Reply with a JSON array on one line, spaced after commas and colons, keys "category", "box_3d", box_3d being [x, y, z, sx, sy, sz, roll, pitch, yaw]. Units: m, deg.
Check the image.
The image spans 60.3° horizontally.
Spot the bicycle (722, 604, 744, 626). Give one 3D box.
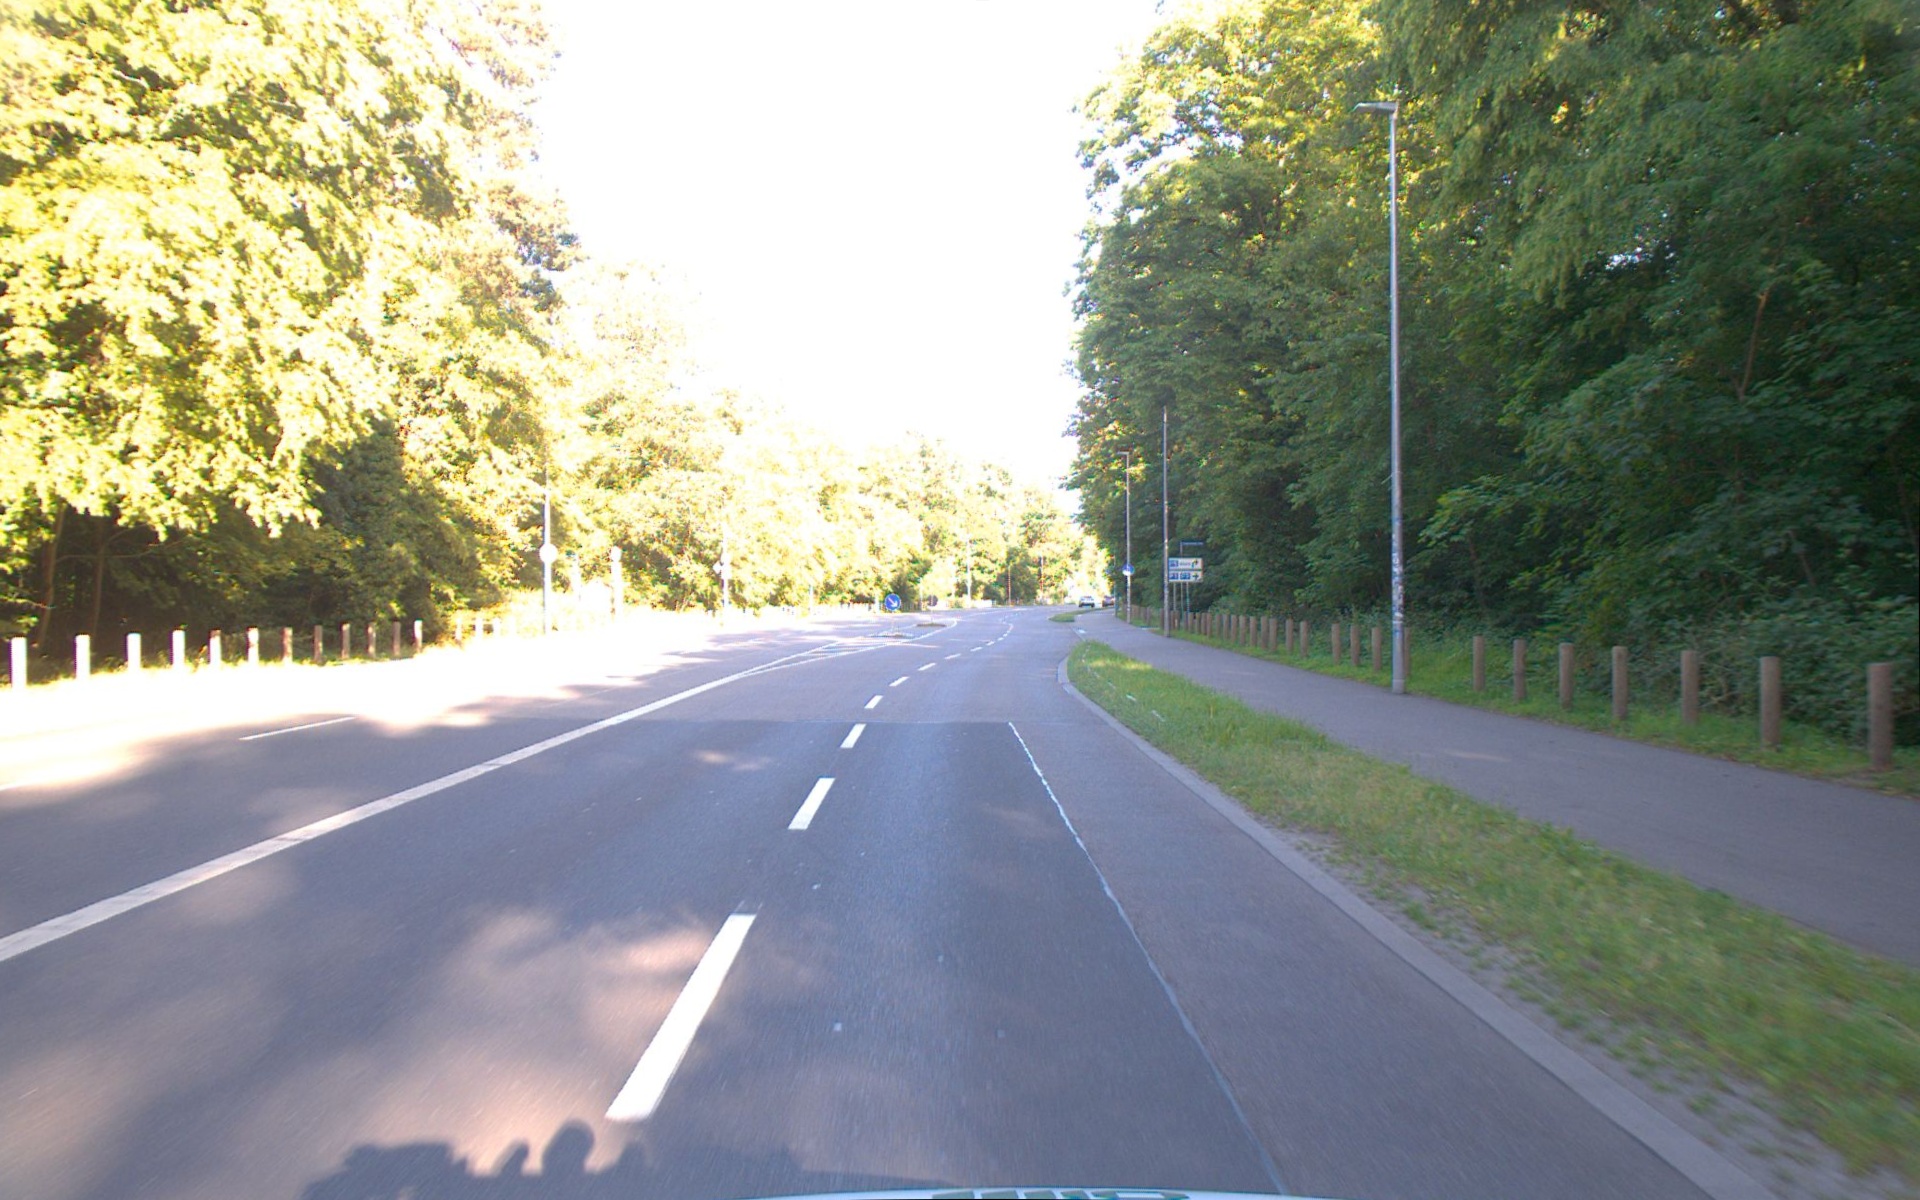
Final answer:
[{"category": "bicycle", "box_3d": [-11.995, 0.803, 87.461, 0.392, 1.152, 2.221, 1, 0, 12]}]

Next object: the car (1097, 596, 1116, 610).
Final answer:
[{"category": "car", "box_3d": [19.657, 0.447, 221.729, 1.840, 1.796, 4.003, -1, 0, 15]}]

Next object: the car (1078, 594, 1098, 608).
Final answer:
[{"category": "car", "box_3d": [16.477, 0.088, 212.356, 1.840, 1.739, 4.003, -1, 0, 15]}]
